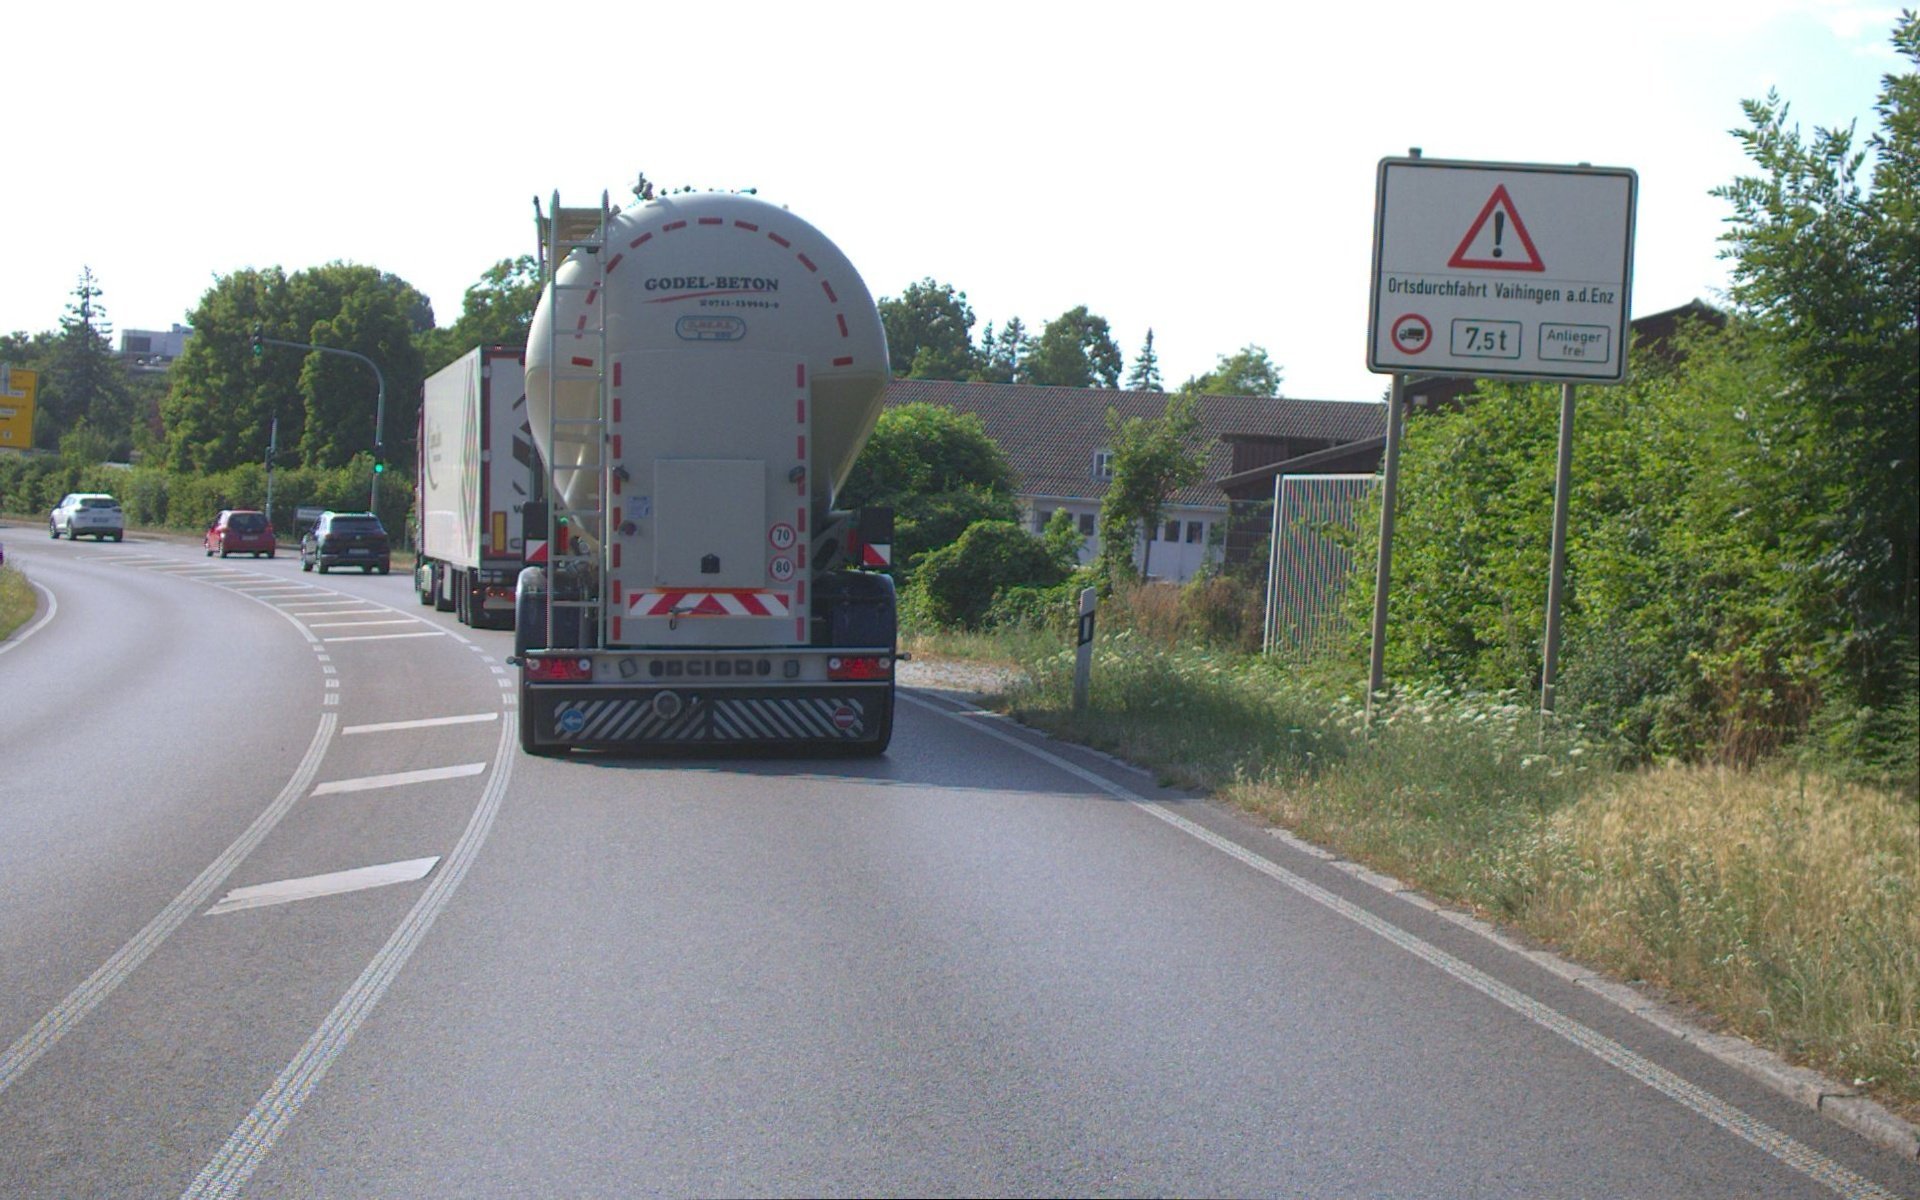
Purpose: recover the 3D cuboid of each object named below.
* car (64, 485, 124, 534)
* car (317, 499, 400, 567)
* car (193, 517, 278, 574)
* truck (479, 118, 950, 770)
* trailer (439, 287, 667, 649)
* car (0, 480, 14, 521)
[{"bbox_3d":[-30.989,-3.225,123.016,1.840,1.650,4.001,1,0,-17],"label":"car"},{"bbox_3d":[-15.294,-1.679,87.297,1.993,1.650,4.001,1,0,-10],"label":"car"},{"bbox_3d":[-22.008,-1.651,104.343,2.299,1.650,4.416,1,0,-14],"label":"car"},{"bbox_3d":[-2.209,-1.063,28.149,2.975,4.161,11.665,1,0,-6],"label":"truck"},{"bbox_3d":[-5.970,-1.845,51.912,2.964,4.865,10.290,1,0,-5],"label":"trailer"},{"bbox_3d":[-39.741,-4.051,140.159,1.519,1.650,3.873,1,1,-27],"label":"car"}]
